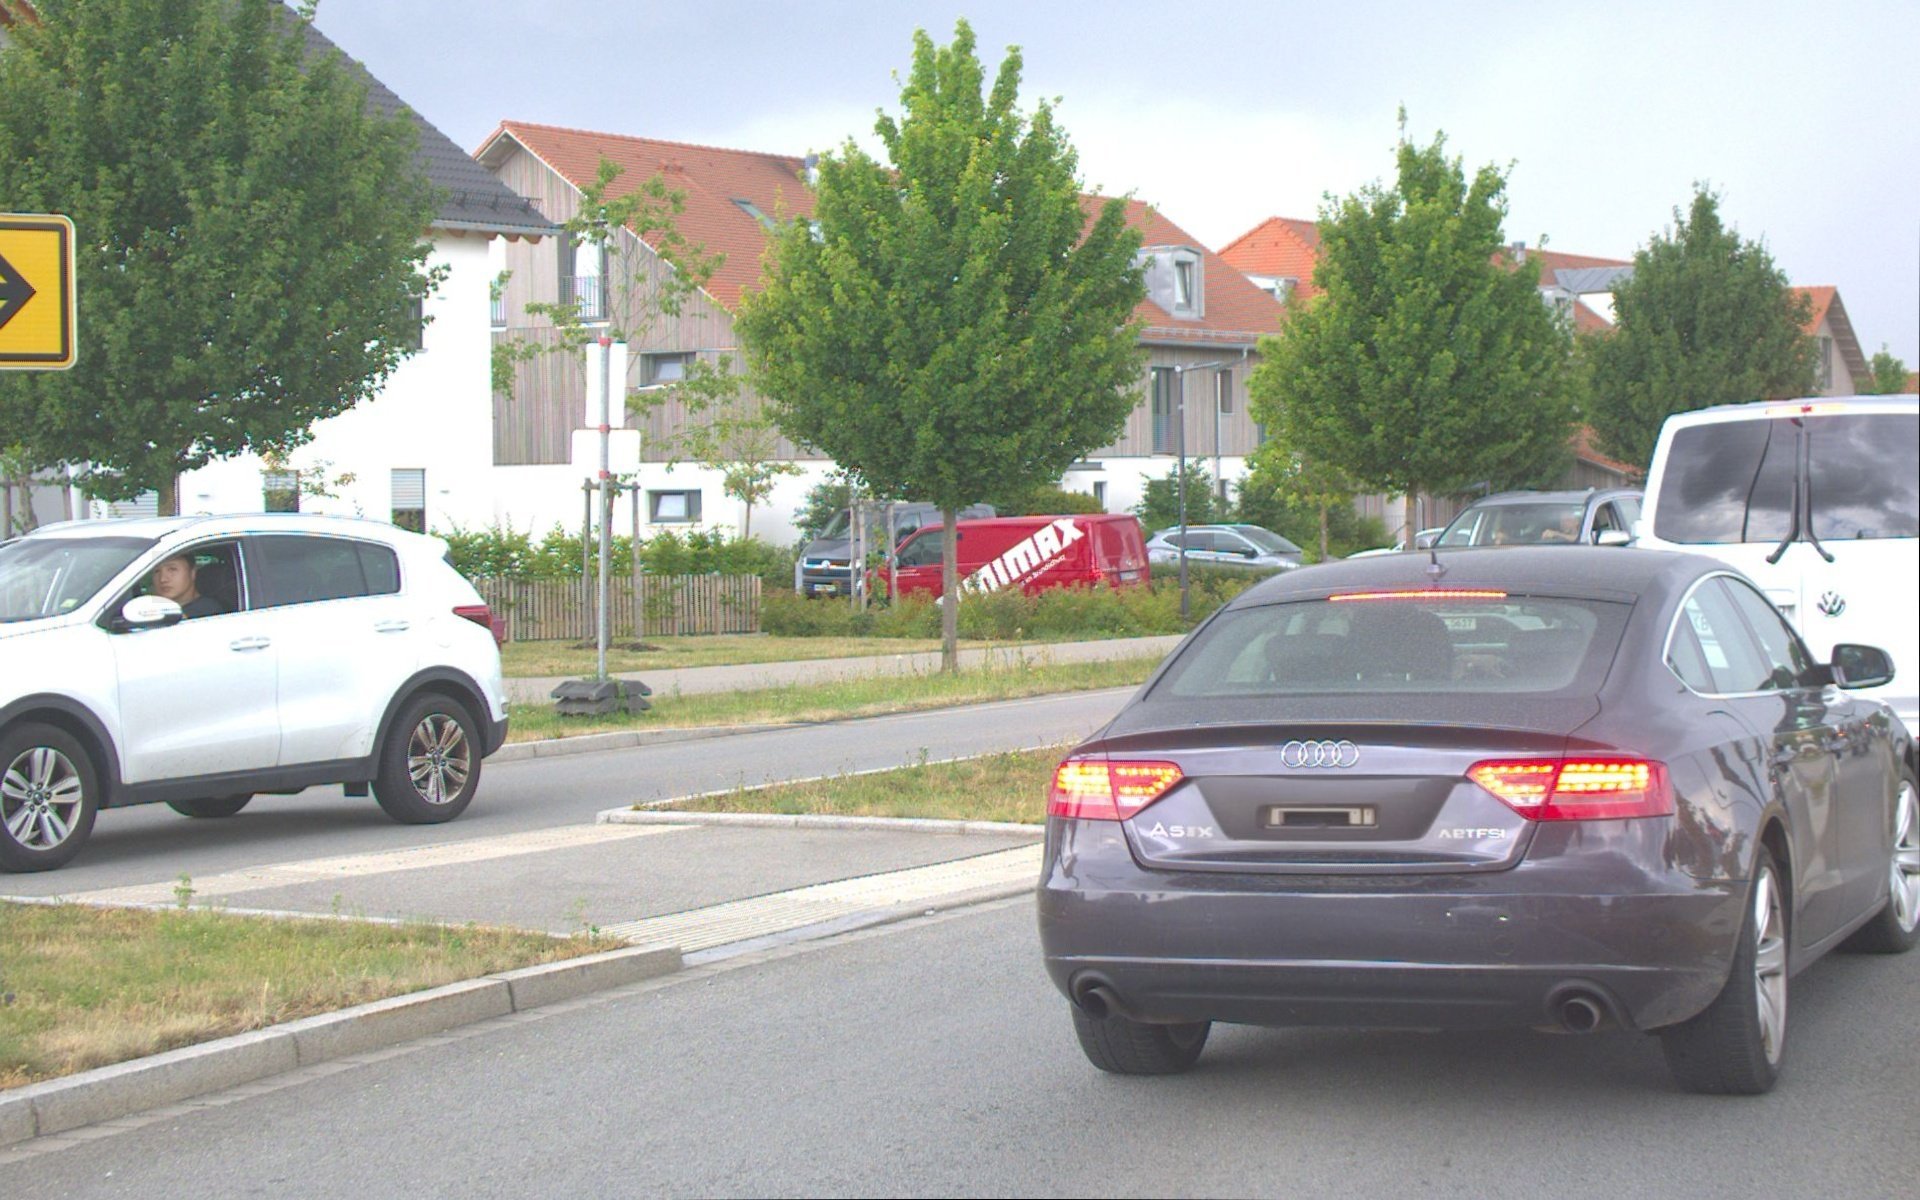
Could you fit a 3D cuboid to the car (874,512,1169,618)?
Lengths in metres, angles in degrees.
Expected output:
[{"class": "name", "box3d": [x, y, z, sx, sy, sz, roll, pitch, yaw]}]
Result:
[{"class": "car", "box3d": [0.997, -0.611, 56.965, 4.539, 1.674, 1.996, 1, 2, 34]}]

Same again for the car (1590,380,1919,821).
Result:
[{"class": "car", "box3d": [4.694, -0.054, 17.048, 1.870, 1.927, 3.994, 1, 2, 30]}]

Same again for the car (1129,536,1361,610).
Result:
[{"class": "car", "box3d": [5.332, -0.526, 64.314, 3.920, 1.310, 1.840, 1, 2, 29]}]

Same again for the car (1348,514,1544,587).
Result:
[{"class": "car", "box3d": [10.247, -1.048, 72.520, 3.735, 1.477, 1.684, 1, 2, 28]}]

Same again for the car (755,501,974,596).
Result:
[{"class": "car", "box3d": [-1.828, -1.035, 67.300, 1.998, 1.765, 4.456, 1, 2, 36]}]

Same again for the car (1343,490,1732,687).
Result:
[{"class": "car", "box3d": [5.638, -0.146, 33.088, 1.997, 1.698, 4.626, 3, 2, 32]}]

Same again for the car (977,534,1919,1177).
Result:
[{"class": "car", "box3d": [1.666, 0.524, 9.866, 1.786, 1.386, 4.128, 1, 2, 23]}]

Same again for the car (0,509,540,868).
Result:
[{"class": "car", "box3d": [-4.258, 0.389, 17.244, 1.712, 1.620, 4.442, -1, 1, 35]}]
